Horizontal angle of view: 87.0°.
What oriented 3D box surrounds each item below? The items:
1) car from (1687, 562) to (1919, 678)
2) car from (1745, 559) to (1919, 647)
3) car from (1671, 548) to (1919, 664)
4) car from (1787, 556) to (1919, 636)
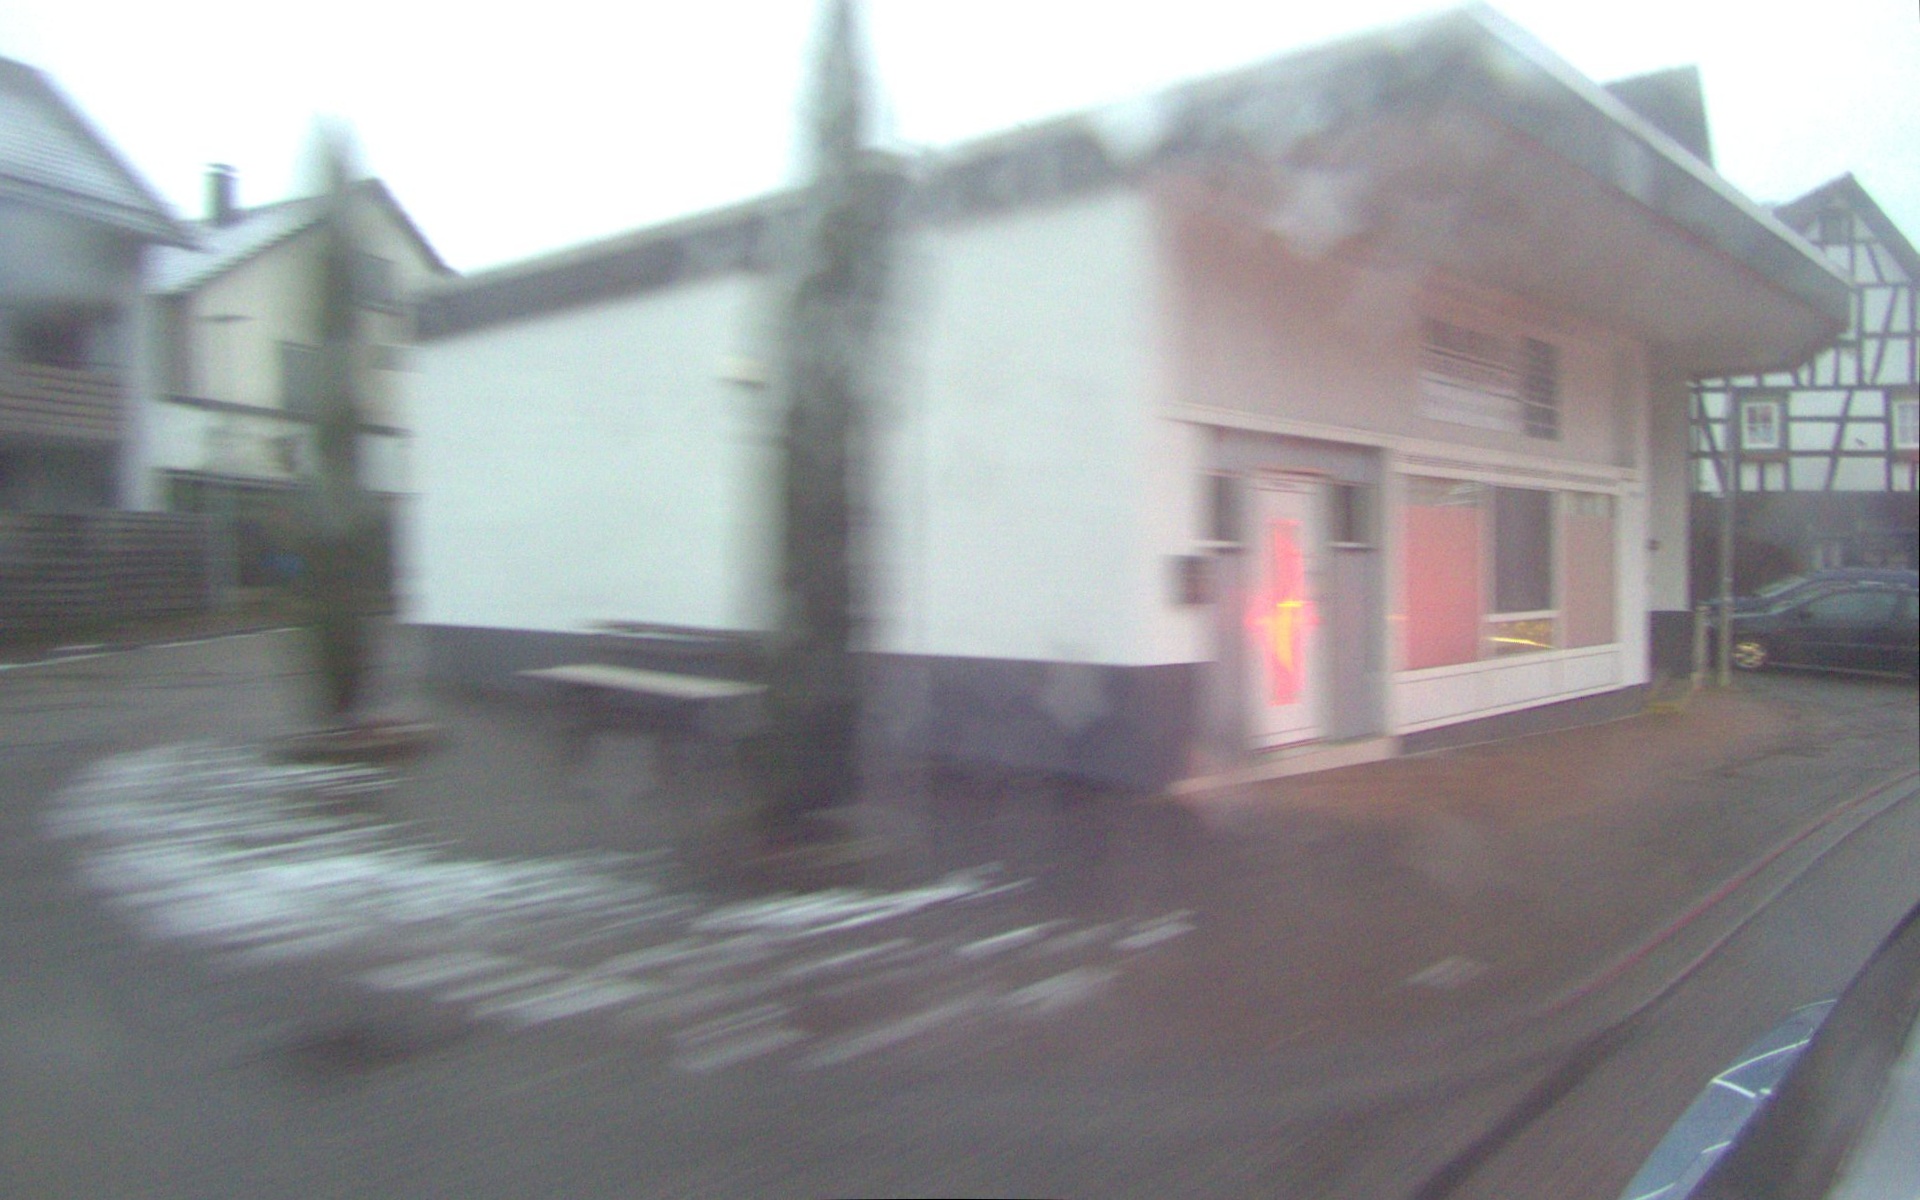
[{"bbox_3d":[13.982,0.296,15.926,3.865,1.466,1.869,6,6,31],"label":"car"},{"bbox_3d":[17.951,0.074,19.608,4.008,1.437,1.796,6,6,31],"label":"car"},{"bbox_3d":[15.497,0.073,17.939,4.441,1.680,1.837,6,6,30],"label":"car"},{"bbox_3d":[20.662,-0.040,21.852,3.943,1.533,1.585,5,6,25],"label":"car"}]
